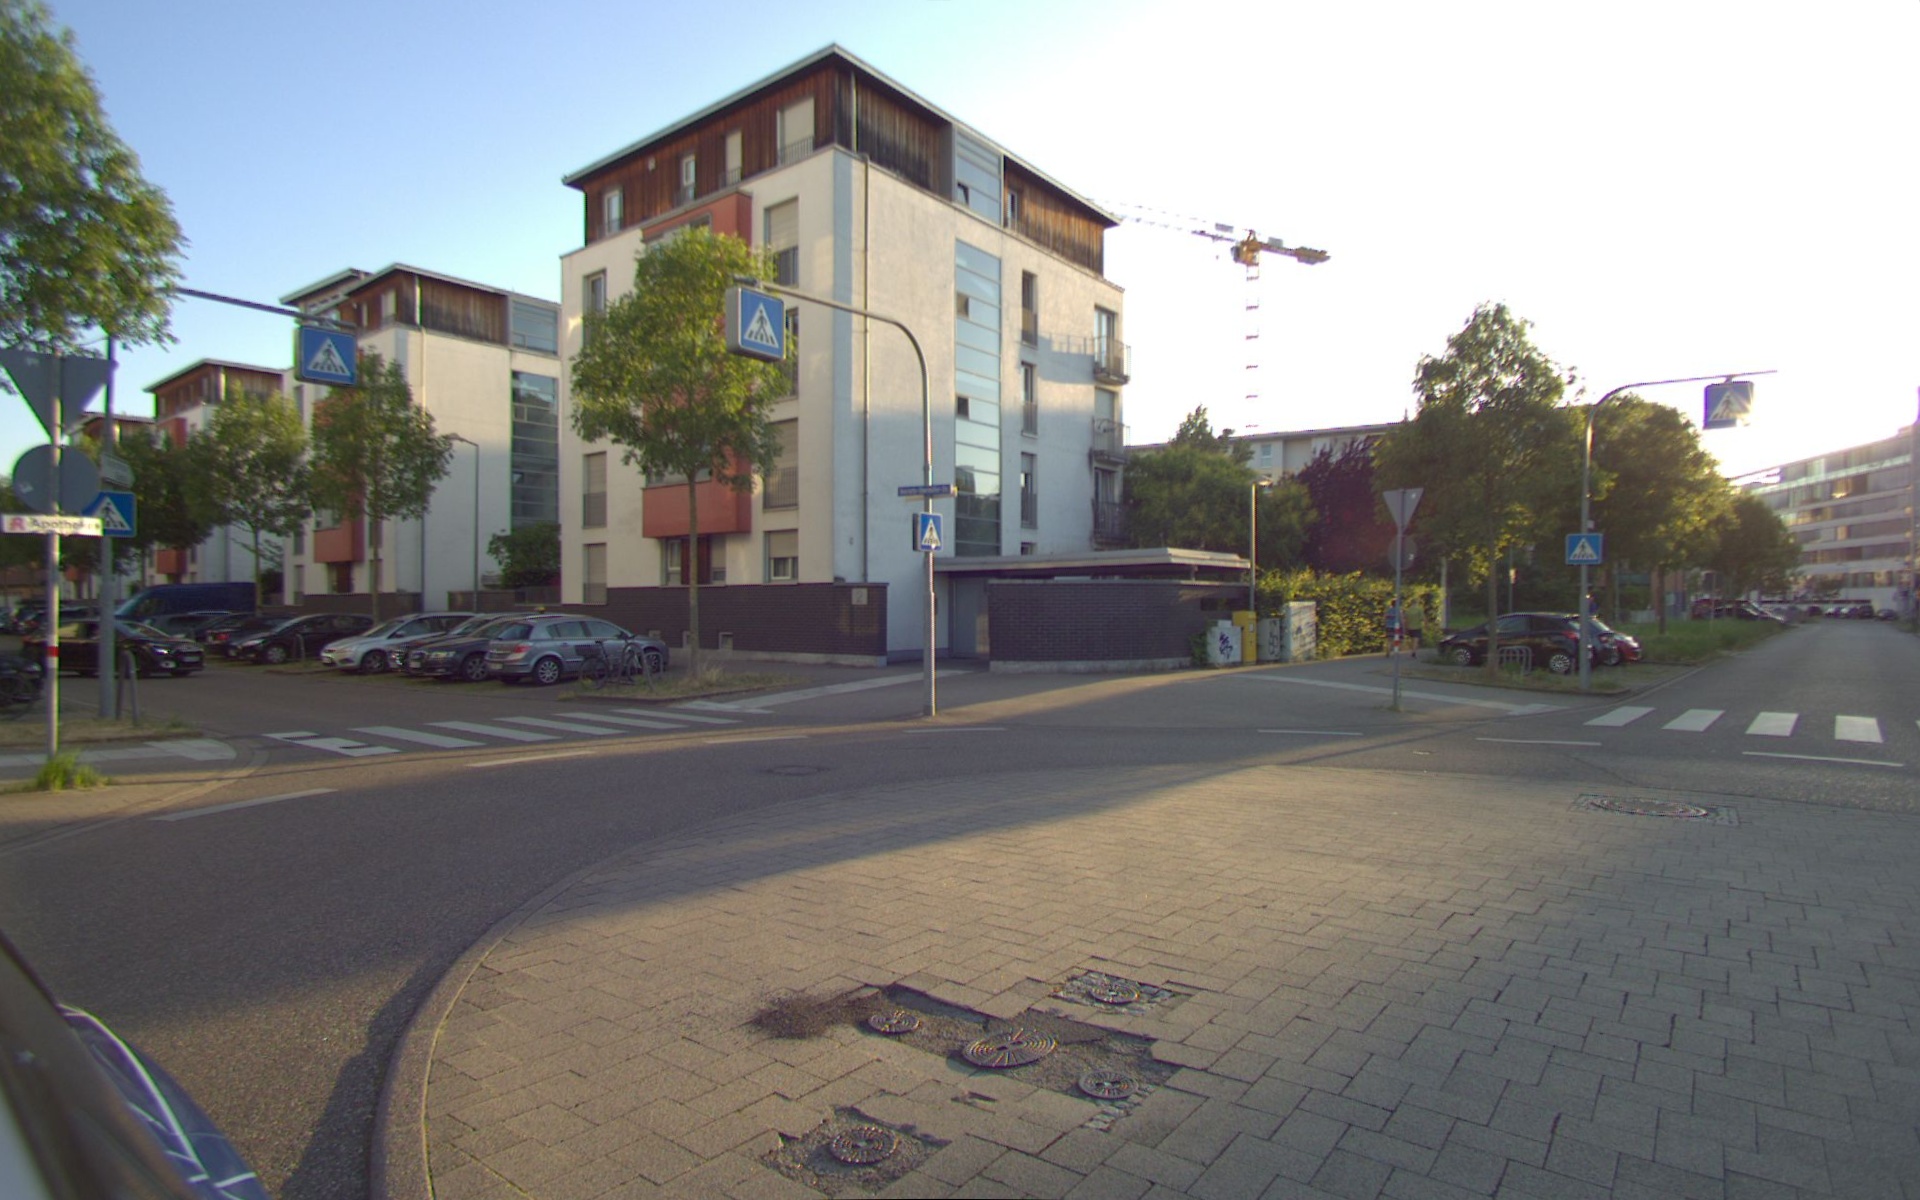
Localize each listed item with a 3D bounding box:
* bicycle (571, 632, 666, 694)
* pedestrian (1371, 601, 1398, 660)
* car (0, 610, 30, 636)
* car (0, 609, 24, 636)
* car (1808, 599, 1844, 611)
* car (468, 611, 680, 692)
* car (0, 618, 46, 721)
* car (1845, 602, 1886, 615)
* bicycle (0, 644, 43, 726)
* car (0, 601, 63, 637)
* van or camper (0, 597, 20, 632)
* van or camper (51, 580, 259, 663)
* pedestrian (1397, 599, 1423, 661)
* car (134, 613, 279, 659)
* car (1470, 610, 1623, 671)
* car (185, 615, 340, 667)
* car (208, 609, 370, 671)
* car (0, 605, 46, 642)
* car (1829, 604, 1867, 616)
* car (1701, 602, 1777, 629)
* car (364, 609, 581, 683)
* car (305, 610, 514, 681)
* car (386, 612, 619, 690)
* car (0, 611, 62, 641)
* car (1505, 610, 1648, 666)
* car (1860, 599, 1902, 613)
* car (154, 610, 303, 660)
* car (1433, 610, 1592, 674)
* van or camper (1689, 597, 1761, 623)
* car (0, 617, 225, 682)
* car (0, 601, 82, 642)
[{"bbox_3d":[-6.913,1.258,20.554,0.566,1.074,1.801,-1,2,35],"label":"bicycle"},{"bbox_3d":[11.901,0.854,28.373,0.652,1.612,0.708,0,1,22],"label":"pedestrian"},{"bbox_3d":[-69.000,1.621,71.765,1.691,1.800,4.198,-1,-4,39],"label":"car"},{"bbox_3d":[-65.665,1.460,67.716,1.691,1.800,4.198,-1,-4,39],"label":"car"},{"bbox_3d":[124.915,0.687,145.961,3.801,1.625,1.630,-1,-1,39],"label":"car"},{"bbox_3d":[-8.602,1.084,22.911,1.677,1.468,4.243,-1,2,36],"label":"car"},{"bbox_3d":[-15.777,0.915,13.681,1.936,1.469,4.825,-1,-4,40],"label":"car"},{"bbox_3d":[119.079,1.086,133.061,3.875,1.625,1.681,-1,-1,39],"label":"car"},{"bbox_3d":[-13.086,1.094,13.013,0.472,1.080,1.819,-1,-4,34],"label":"bicycle"},{"bbox_3d":[-52.958,1.042,56.338,1.690,1.945,4.201,-1,-4,37],"label":"car"},{"bbox_3d":[-72.750,1.006,75.023,1.759,2.554,4.198,-1,-4,39],"label":"van or camper"},{"bbox_3d":[-32.836,0.792,41.501,2.436,3.110,6.245,-1,0,34],"label":"van or camper"},{"bbox_3d":[12.527,0.828,28.179,0.620,1.679,0.738,0,1,22],"label":"pedestrian"},{"bbox_3d":[-28.645,1.411,38.615,1.719,1.638,4.057,-1,-3,34],"label":"car"},{"bbox_3d":[16.000,1.054,27.691,3.408,1.511,1.573,0,0,41],"label":"car"},{"bbox_3d":[-22.937,1.290,33.419,1.719,1.527,3.876,-1,0,34],"label":"car"},{"bbox_3d":[-20.867,1.192,31.610,1.719,1.723,3.876,-1,0,34],"label":"car"},{"bbox_3d":[-54.893,1.311,57.409,1.690,2.018,4.201,-1,-4,37],"label":"car"},{"bbox_3d":[120.962,1.363,137.926,3.801,1.625,1.630,-1,-1,39],"label":"car"},{"bbox_3d":[51.552,1.038,67.085,3.871,1.707,1.682,-1,-1,35],"label":"car"},{"bbox_3d":[-12.458,1.110,26.119,1.710,1.566,4.723,-1,1,42],"label":"car"},{"bbox_3d":[-14.853,1.159,27.580,1.754,1.597,4.707,-1,1,34],"label":"car"},{"bbox_3d":[-10.792,1.137,24.250,1.707,1.489,4.859,-1,1,36],"label":"car"},{"bbox_3d":[-59.637,1.633,63.817,1.690,1.800,4.201,-1,-4,37],"label":"car"},{"bbox_3d":[18.101,1.074,29.772,3.408,1.511,1.573,0,0,41],"label":"car"},{"bbox_3d":[117.082,0.765,128.689,3.875,1.625,1.681,-1,-1,39],"label":"car"},{"bbox_3d":[-26.485,1.209,36.776,1.719,1.638,4.057,-1,0,34],"label":"car"},{"bbox_3d":[14.442,1.047,26.512,3.408,1.533,1.668,0,0,41],"label":"car"},{"bbox_3d":[52.832,0.692,70.011,3.871,1.707,1.813,-1,-1,35],"label":"van or camper"},{"bbox_3d":[-21.198,1.247,25.399,4.118,1.474,1.778,1,-3,-1],"label":"car"},{"bbox_3d":[-46.070,1.061,49.640,1.690,1.945,4.201,-1,-4,37],"label":"car"}]
